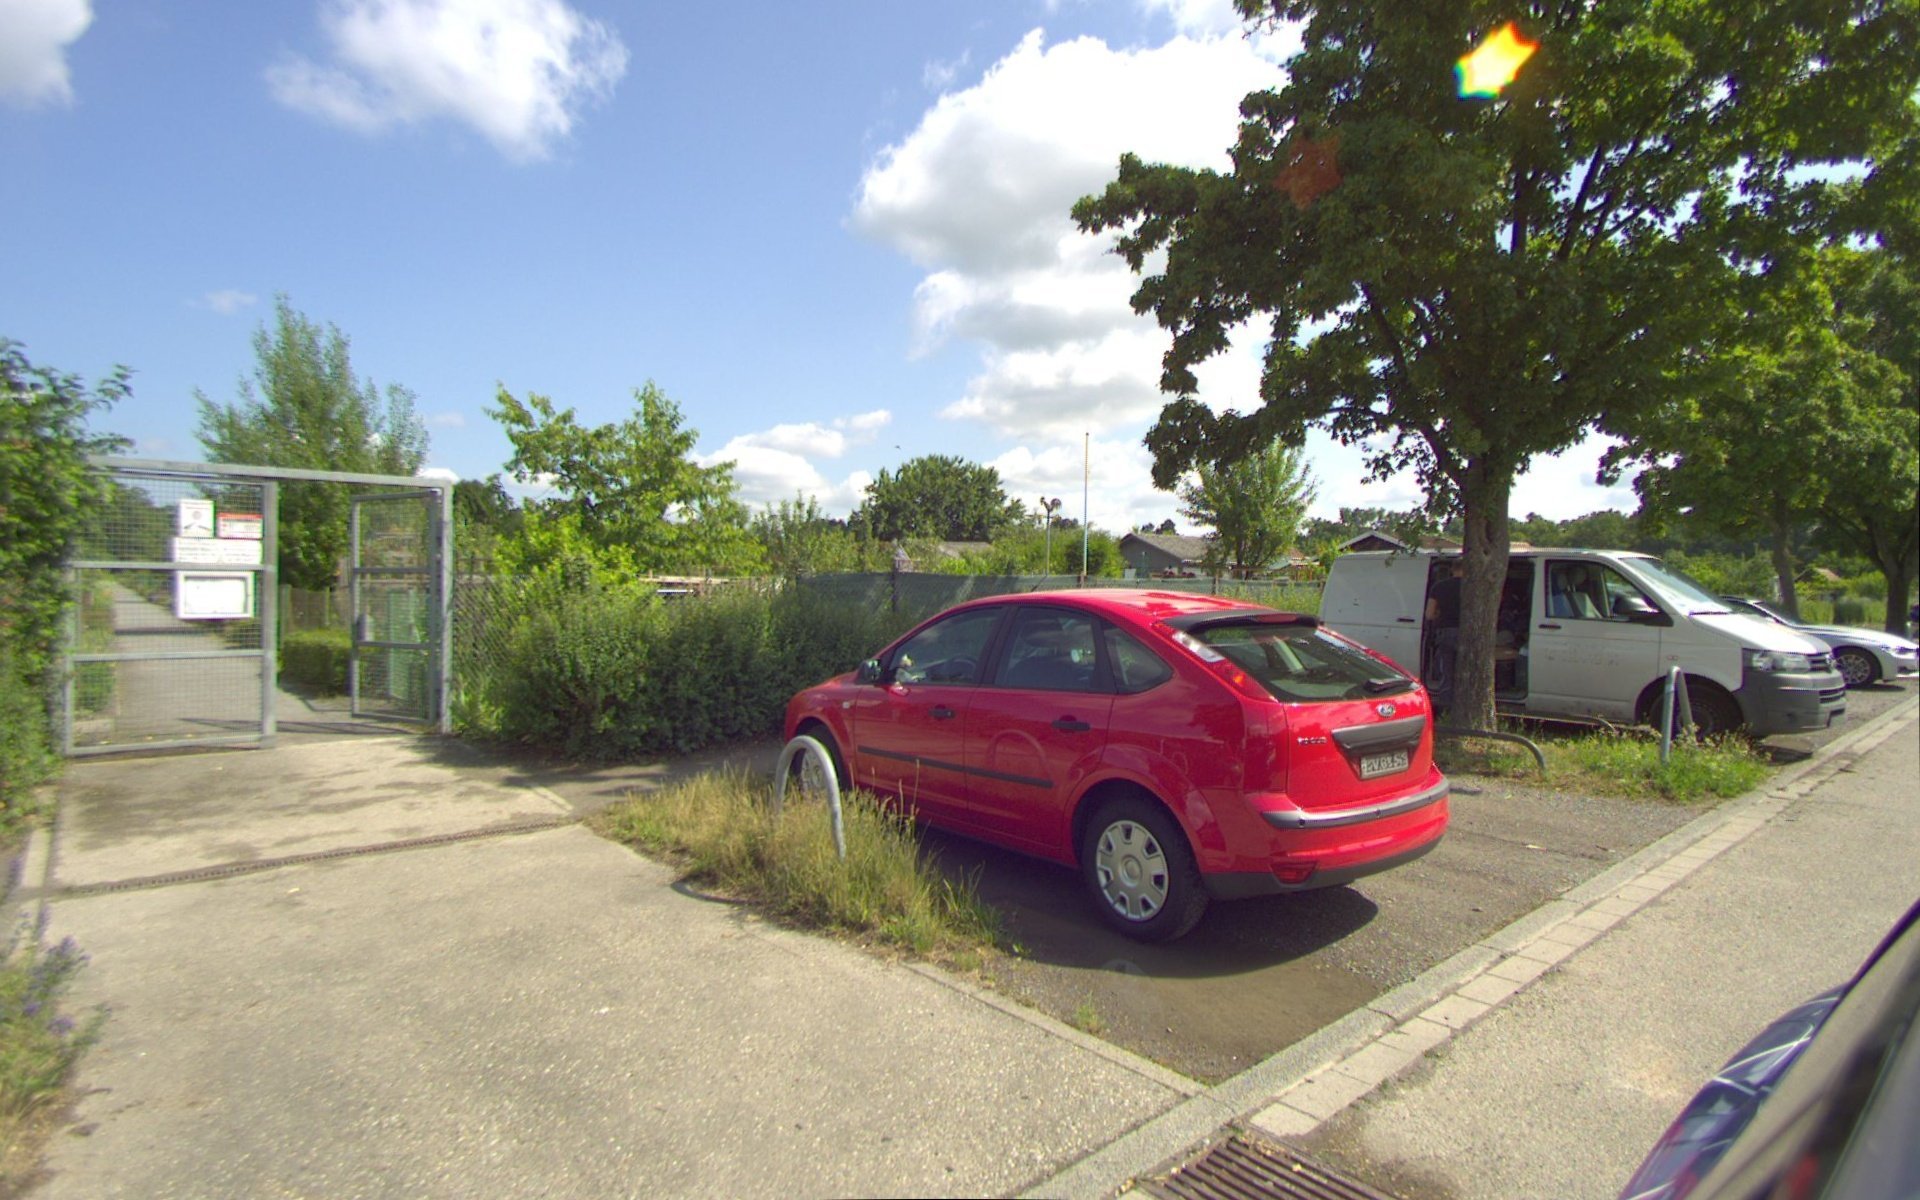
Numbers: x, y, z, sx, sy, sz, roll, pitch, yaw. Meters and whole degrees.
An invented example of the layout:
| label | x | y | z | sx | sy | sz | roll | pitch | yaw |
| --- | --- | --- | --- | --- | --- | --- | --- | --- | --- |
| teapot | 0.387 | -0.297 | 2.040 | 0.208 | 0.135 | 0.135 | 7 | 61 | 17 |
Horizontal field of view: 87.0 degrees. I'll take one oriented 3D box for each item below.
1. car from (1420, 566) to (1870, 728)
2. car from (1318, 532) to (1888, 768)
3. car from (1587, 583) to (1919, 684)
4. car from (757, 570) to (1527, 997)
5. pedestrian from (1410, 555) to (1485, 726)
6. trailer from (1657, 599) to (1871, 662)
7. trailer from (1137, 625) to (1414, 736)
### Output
| label | x | y | z | sx | sy | sz | roll | pitch | yaw |
| --- | --- | --- | --- | --- | --- | --- | --- | --- | --- |
| car | 8.304 | 0.425 | 12.602 | 1.965 | 1.612 | 4.253 | 0 | 2 | -40 |
| car | 6.450 | 0.324 | 10.616 | 2.075 | 1.910 | 4.642 | 0 | 2 | -42 |
| car | 13.467 | 0.469 | 17.080 | 1.967 | 1.484 | 4.582 | 0 | 1 | -43 |
| car | 0.651 | 0.657 | 5.837 | 1.844 | 1.523 | 4.192 | -1 | 0 | -39 |
| pedestrian | 4.997 | 0.392 | 10.372 | 0.465 | 1.694 | 0.524 | -2 | 3 | -40 |
| trailer | 16.443 | 0.584 | 20.771 | 1.965 | 1.157 | 3.106 | -1 | 0 | -40 |
| trailer | 3.226 | 0.778 | 10.940 | 1.527 | 0.888 | 3.073 | 0 | 1 | -12 |
